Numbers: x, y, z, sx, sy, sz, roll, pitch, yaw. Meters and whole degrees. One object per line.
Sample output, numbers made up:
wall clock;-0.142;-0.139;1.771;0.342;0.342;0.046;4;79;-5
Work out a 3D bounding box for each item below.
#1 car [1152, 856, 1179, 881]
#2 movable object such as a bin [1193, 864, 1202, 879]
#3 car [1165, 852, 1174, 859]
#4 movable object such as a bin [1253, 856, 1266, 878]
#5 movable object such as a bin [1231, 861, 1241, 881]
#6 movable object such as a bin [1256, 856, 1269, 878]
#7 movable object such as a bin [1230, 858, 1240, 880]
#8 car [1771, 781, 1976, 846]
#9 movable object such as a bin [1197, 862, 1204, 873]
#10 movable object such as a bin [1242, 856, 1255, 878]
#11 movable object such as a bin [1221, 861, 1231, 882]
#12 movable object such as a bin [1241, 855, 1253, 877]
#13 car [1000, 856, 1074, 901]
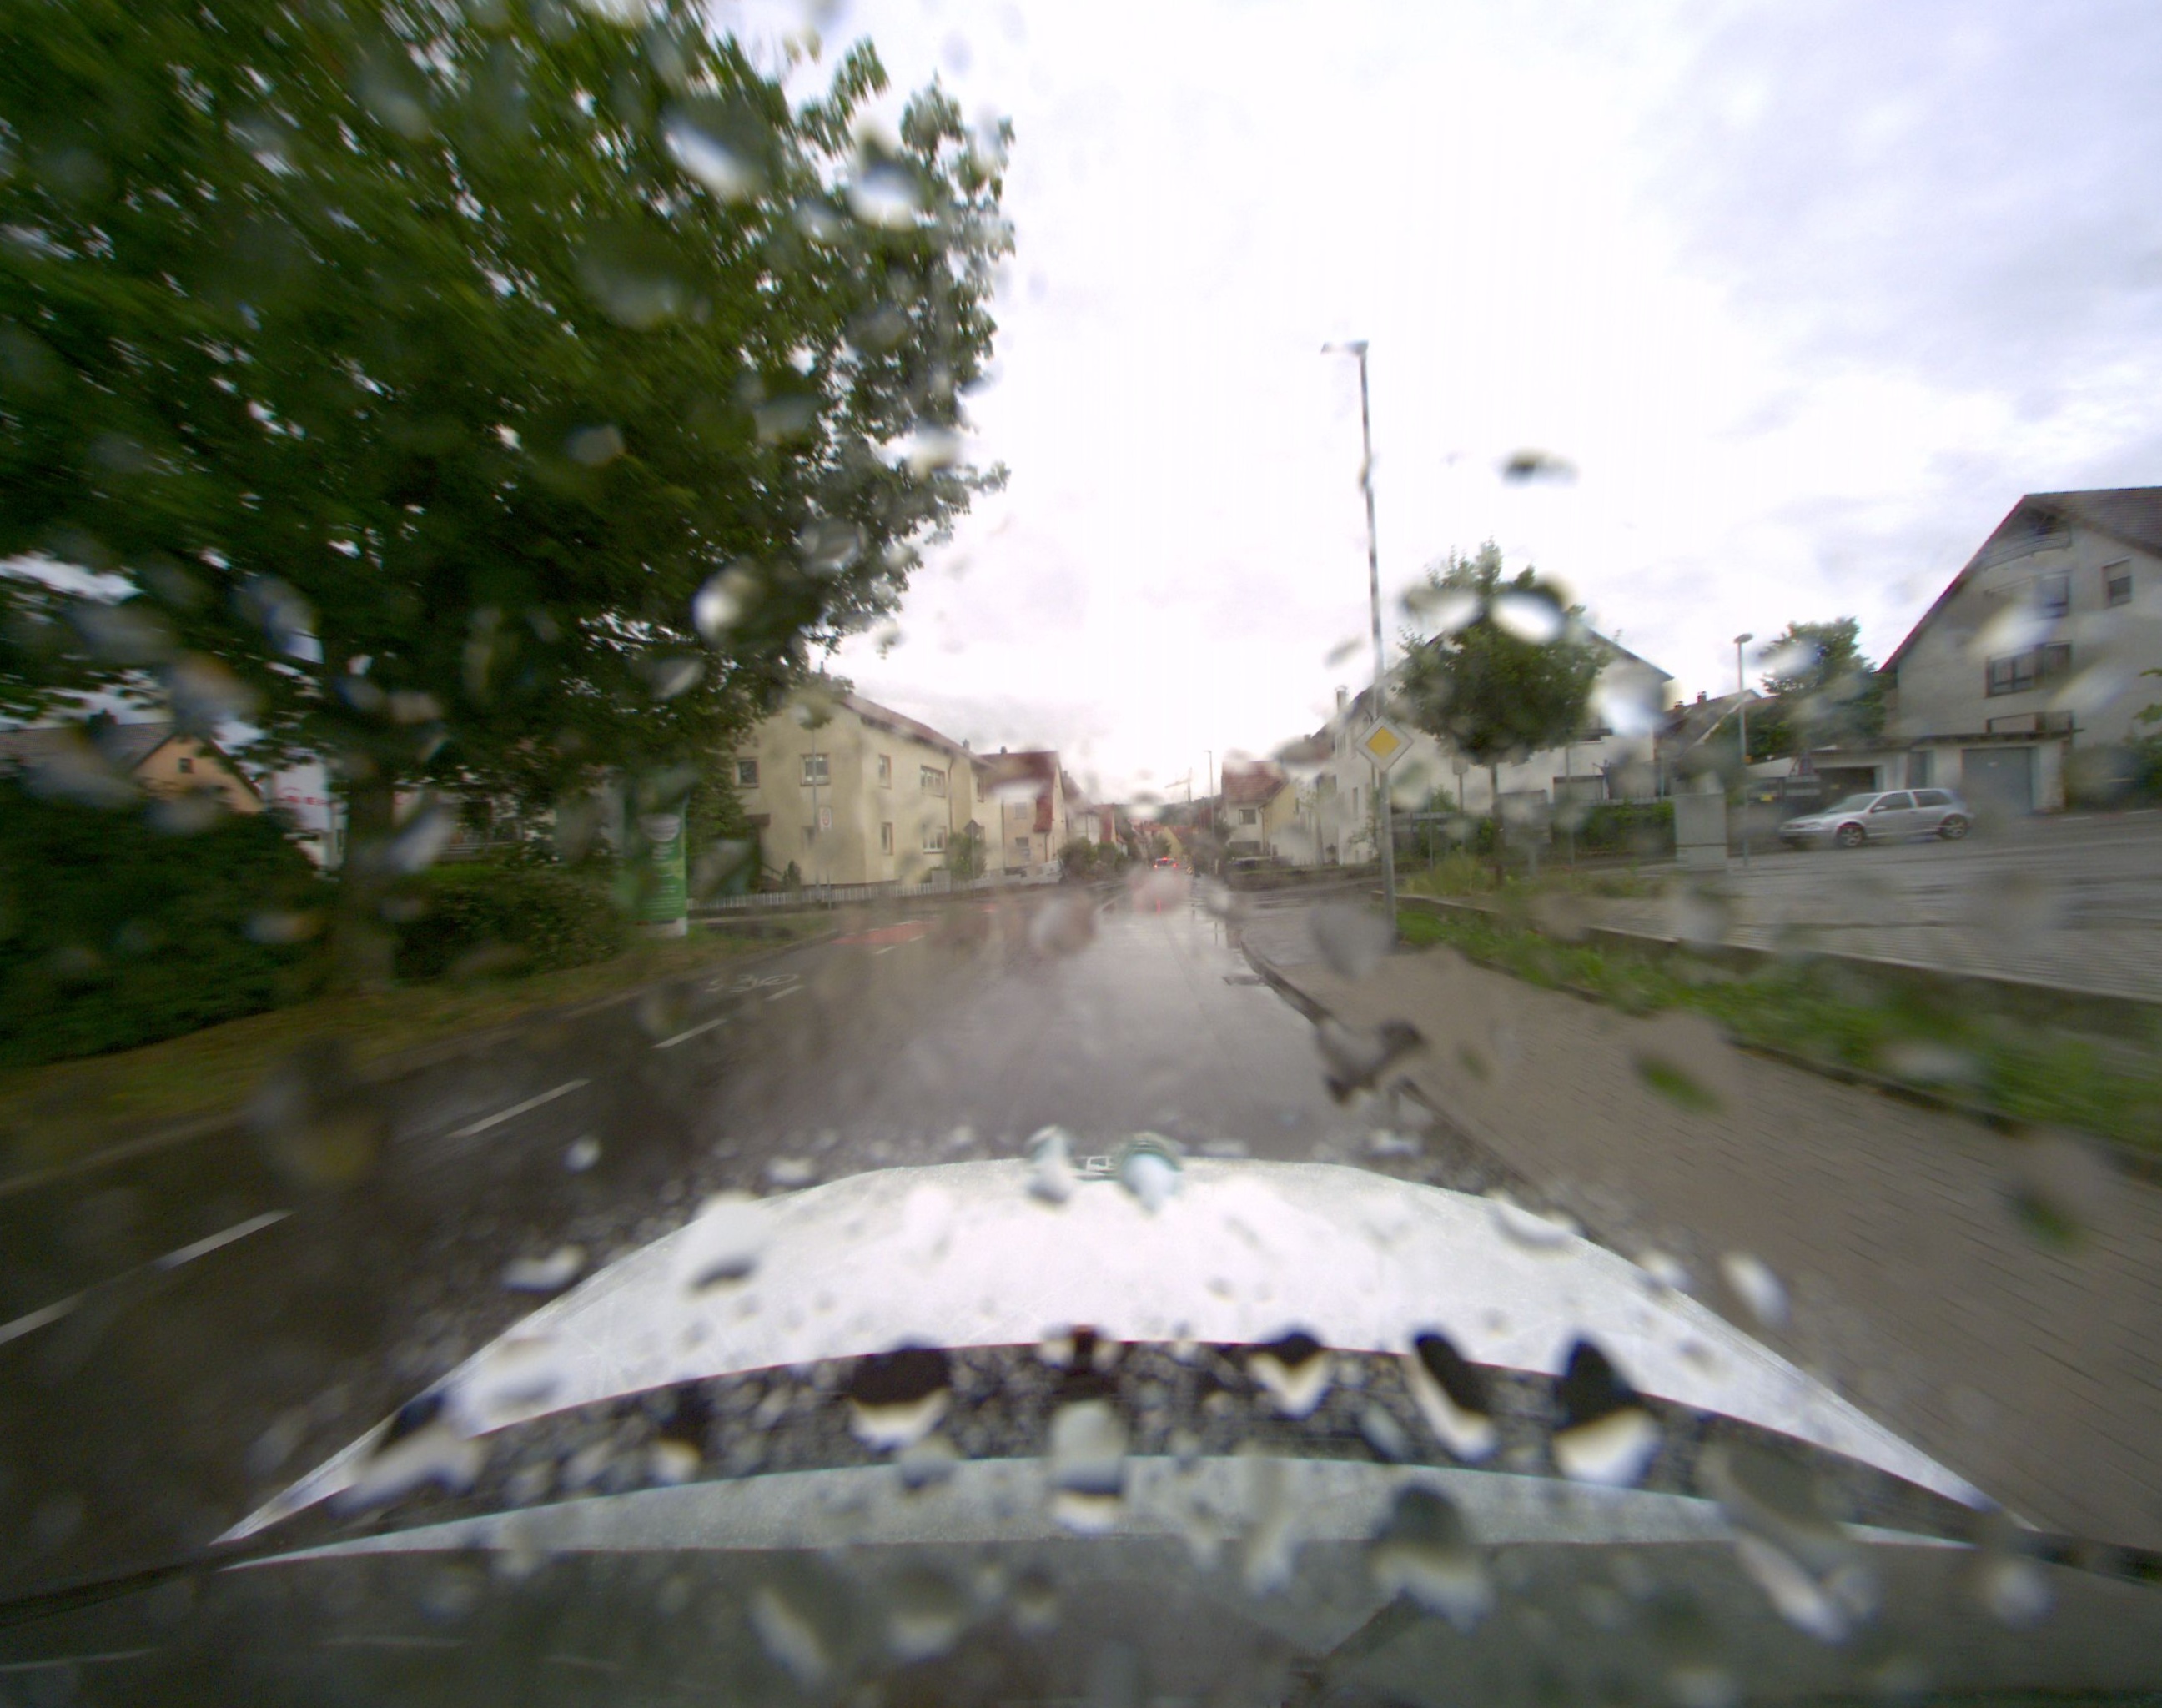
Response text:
car;7.298;1.216;70.162;2.105;1.888;4.513;-1;2;8
movable object such as a bin;10.629;1.615;74.514;0.741;1.279;0.884;-2;1;8
car;21.675;0.313;199.030;1.829;1.578;4.305;0;2;12
movable object such as a bin;8.701;0.638;39.705;0.542;1.028;0.633;-1;1;5
movable object such as a bin;7.440;0.826;39.117;0.422;0.940;0.509;-1;1;5
movable object such as a bin;8.696;0.621;38.979;0.525;1.028;0.633;-1;1;5
movable object such as a bin;7.523;0.718;39.777;0.422;1.028;0.633;-1;1;6
car;21.154;-1.051;21.851;3.750;1.455;1.610;-3;0;4
movable object such as a bin;14.863;1.673;101.153;0.780;1.277;0.716;0;1;11
movable object such as a bin;8.043;0.623;39.049;0.542;1.028;0.633;-1;1;5
movable object such as a bin;6.973;0.839;39.229;0.422;0.940;0.509;-1;1;5
movable object such as a bin;8.097;0.594;39.756;0.542;1.028;0.633;-1;1;5
car;-3.045;1.663;57.079;4.532;2.012;2.164;-14;0;6
